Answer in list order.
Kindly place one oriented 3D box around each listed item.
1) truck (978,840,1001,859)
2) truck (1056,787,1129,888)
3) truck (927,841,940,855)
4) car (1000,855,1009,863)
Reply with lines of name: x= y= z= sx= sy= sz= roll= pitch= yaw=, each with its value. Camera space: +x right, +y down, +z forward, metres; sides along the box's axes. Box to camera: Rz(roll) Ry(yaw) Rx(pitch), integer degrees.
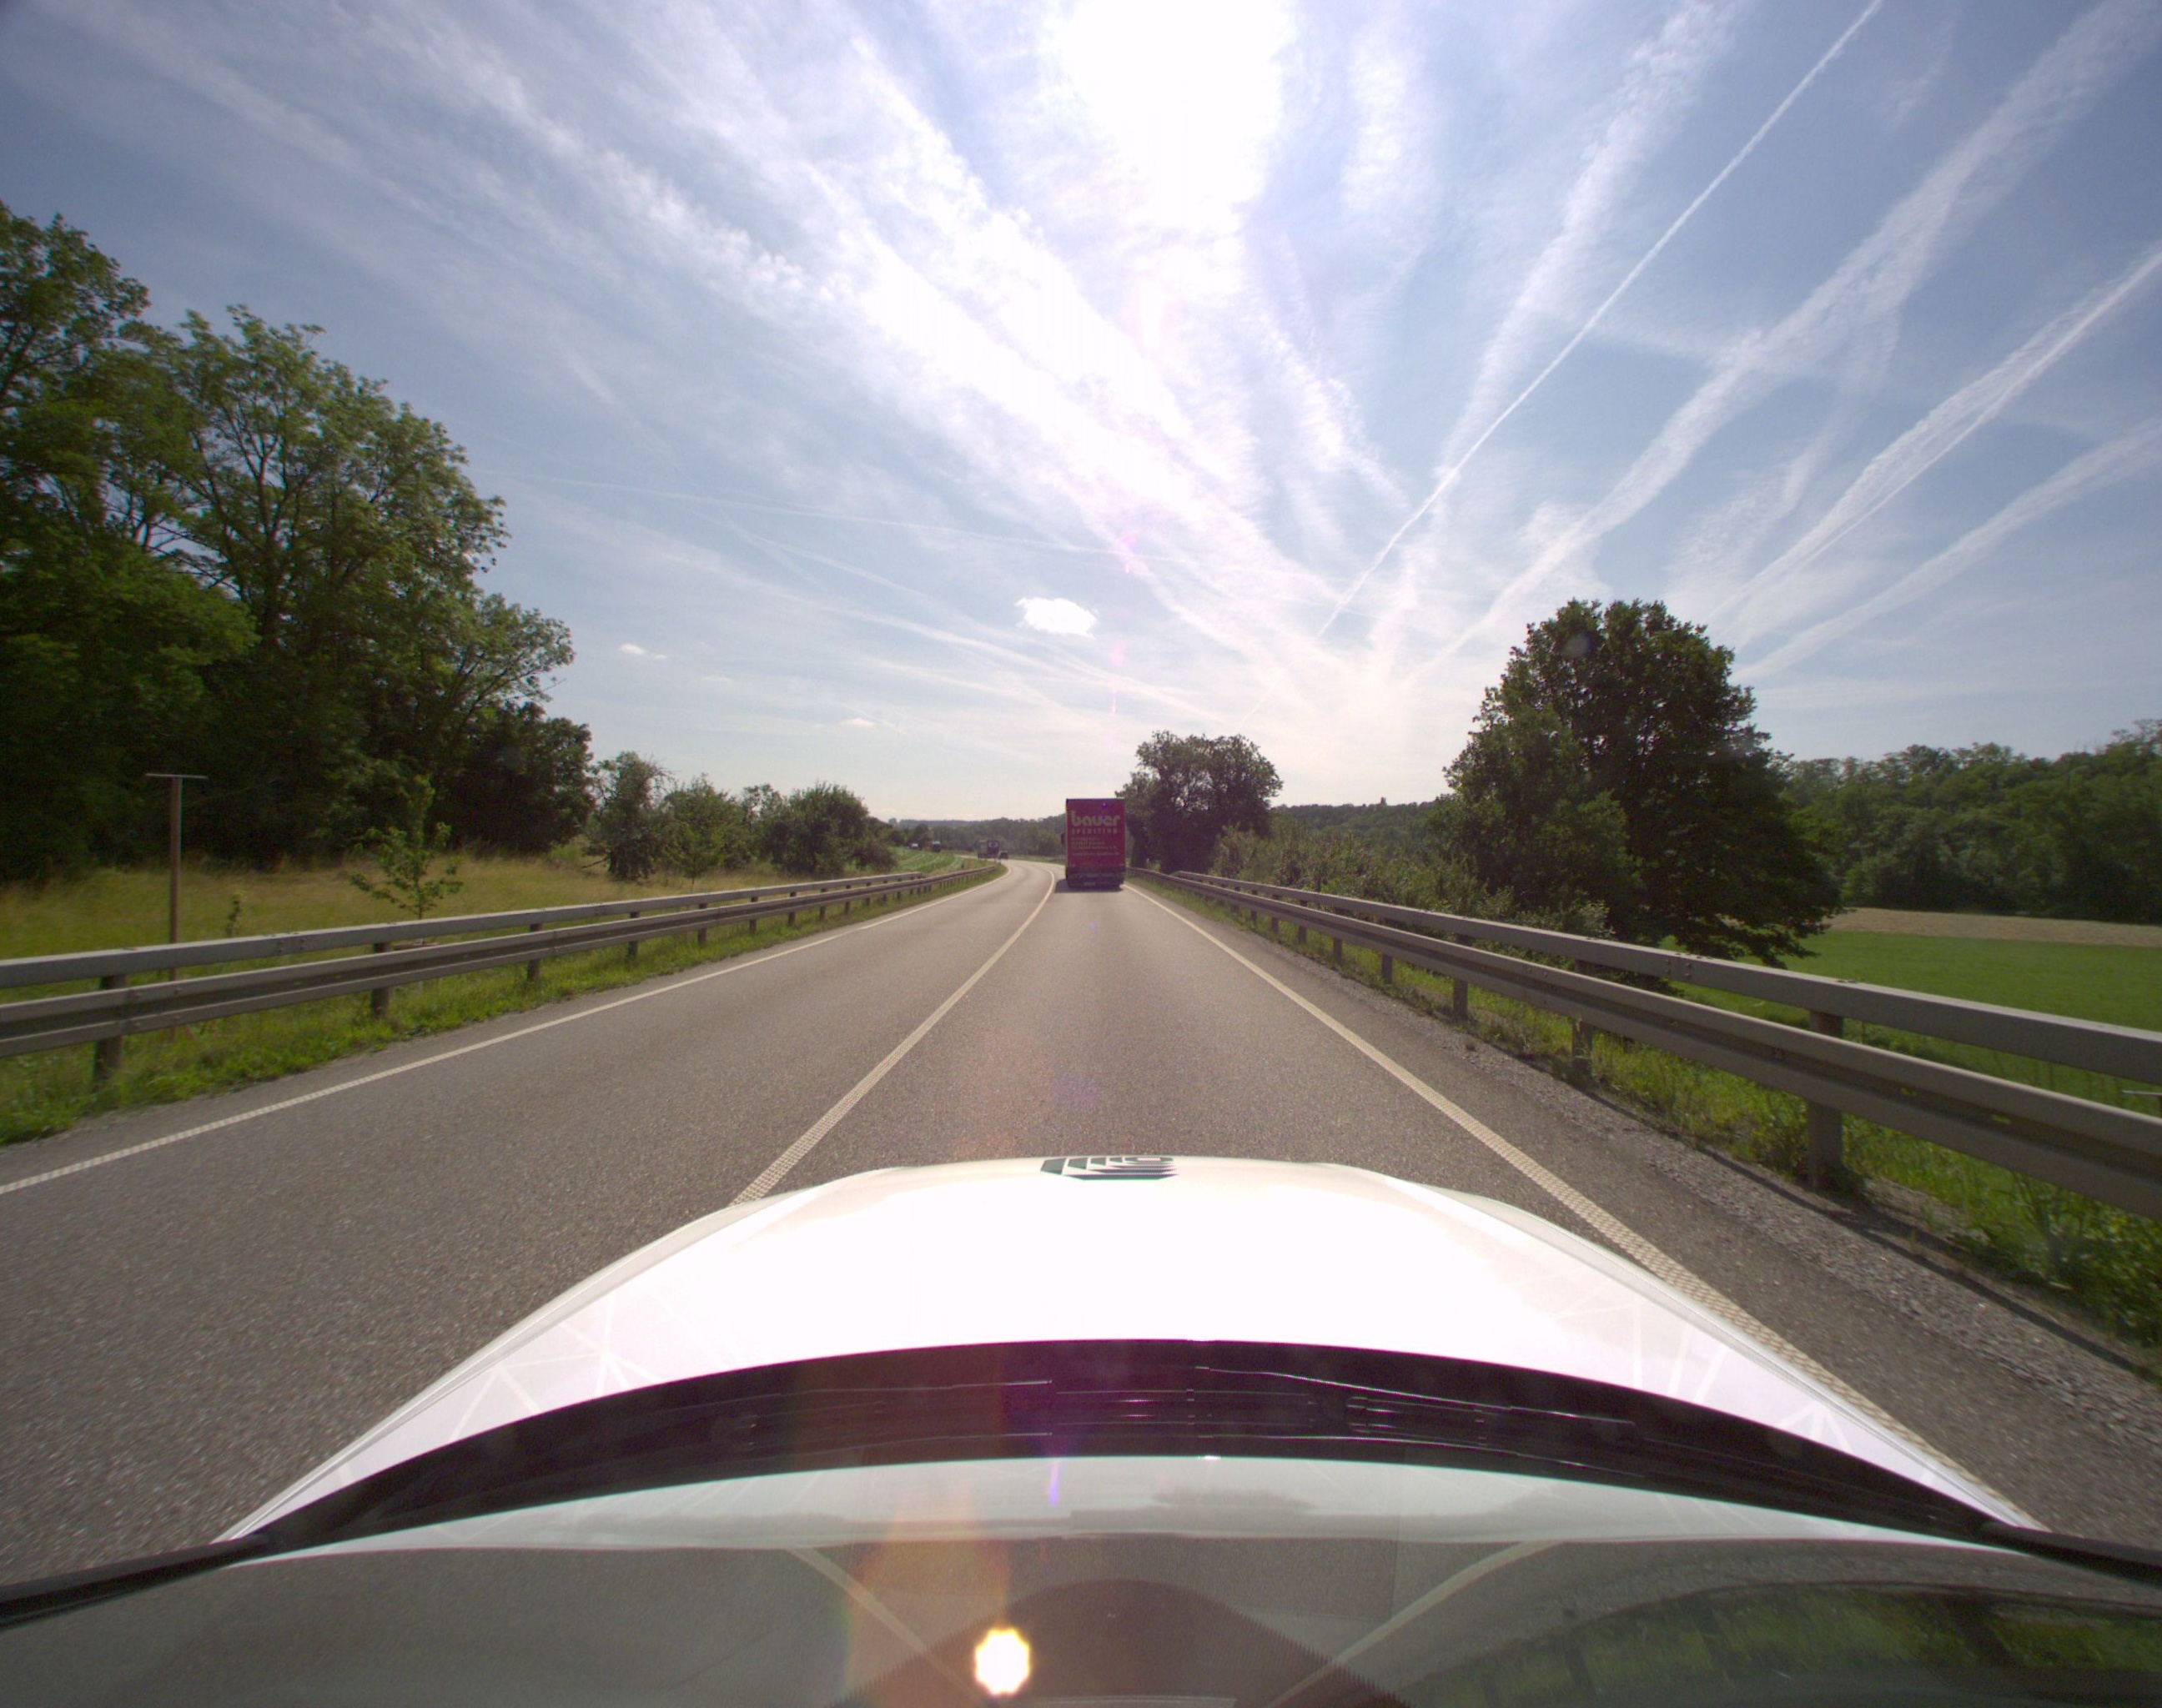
truck: x=-20.841 y=-0.975 z=185.581 sx=3.645 sy=4.292 sz=11.928 roll=-1 pitch=0 yaw=-14
truck: x=0.593 y=-0.703 z=38.802 sx=3.083 sy=4.262 sz=8.316 roll=-1 pitch=0 yaw=1
truck: x=-45.021 y=-1.804 z=248.524 sx=2.775 sy=3.998 sz=16.945 roll=0 pitch=0 yaw=-14
car: x=-15.251 y=0.966 z=162.452 sx=1.578 sy=1.501 sz=3.872 roll=0 pitch=0 yaw=-3
